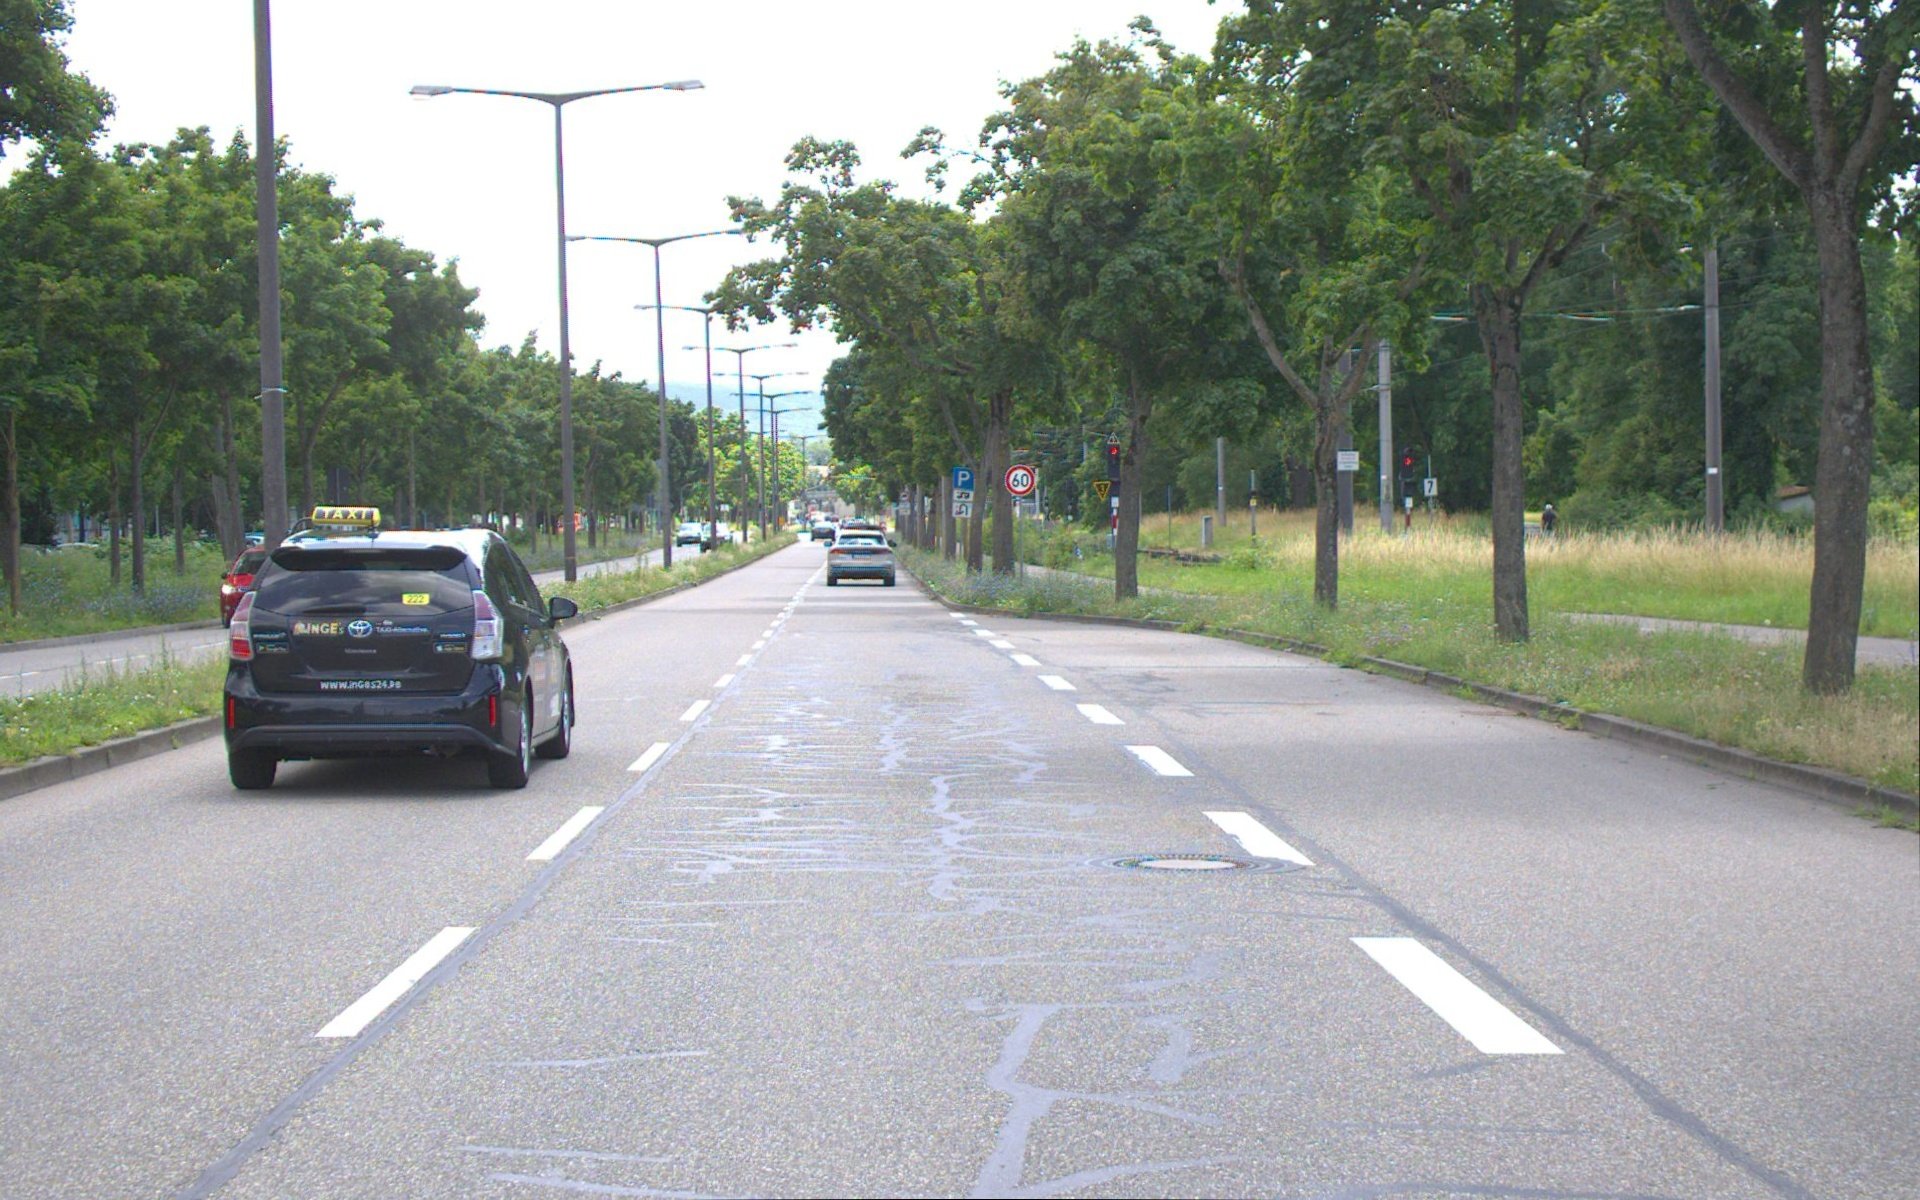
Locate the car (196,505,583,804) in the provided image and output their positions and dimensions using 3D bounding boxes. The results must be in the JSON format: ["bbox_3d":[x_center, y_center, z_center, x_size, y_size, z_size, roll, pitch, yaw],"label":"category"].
[{"bbox_3d":[-3.473,0.258,21.588,1.779,1.678,4.000,0,2,0],"label":"car"}]

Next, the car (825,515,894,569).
[{"bbox_3d":[-2.993,-1.730,101.556,1.993,1.503,4.001,0,2,-2],"label":"car"}]

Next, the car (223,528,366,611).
[{"bbox_3d":[-12.842,-0.612,66.532,1.879,1.503,3.797,1,2,3],"label":"car"}]
